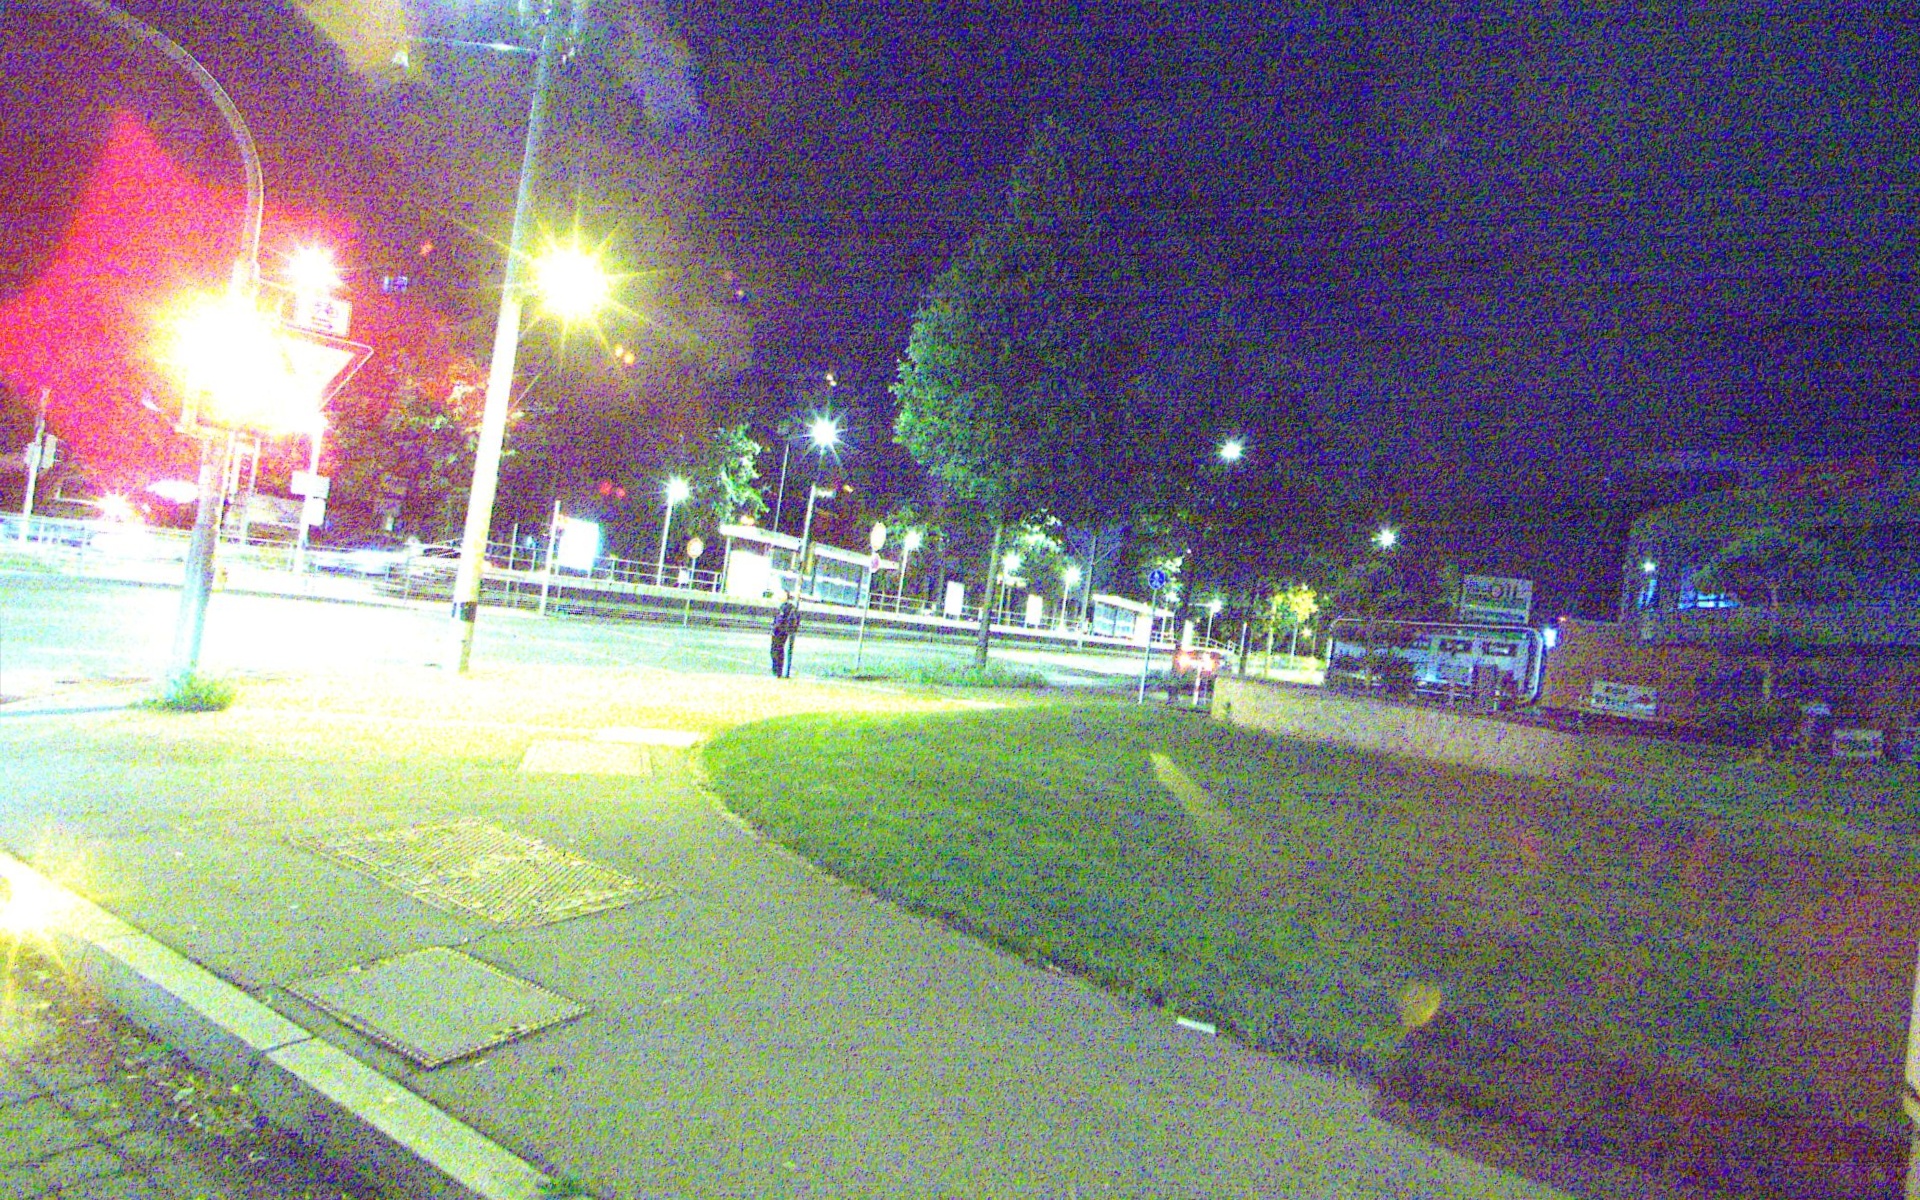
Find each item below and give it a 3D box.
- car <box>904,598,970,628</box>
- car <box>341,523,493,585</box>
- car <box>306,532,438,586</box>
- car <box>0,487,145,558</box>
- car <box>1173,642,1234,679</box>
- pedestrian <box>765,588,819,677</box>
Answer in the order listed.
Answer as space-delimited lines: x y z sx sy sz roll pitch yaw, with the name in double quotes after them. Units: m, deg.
-1.448 0.817 63.930 1.822 1.437 4.429 6 -1 35 "car"
-20.241 -1.682 37.703 1.816 1.604 4.575 8 0 33 "car"
-24.356 -1.670 41.837 1.857 1.603 4.240 5 -3 34 "car"
-28.217 -2.440 31.124 1.776 1.603 4.237 5 -3 36 "car"
12.233 3.043 50.484 1.631 1.492 3.880 10 1 32 "car"
-3.284 0.621 19.598 0.867 1.677 0.835 2 1 -18 "pedestrian"
